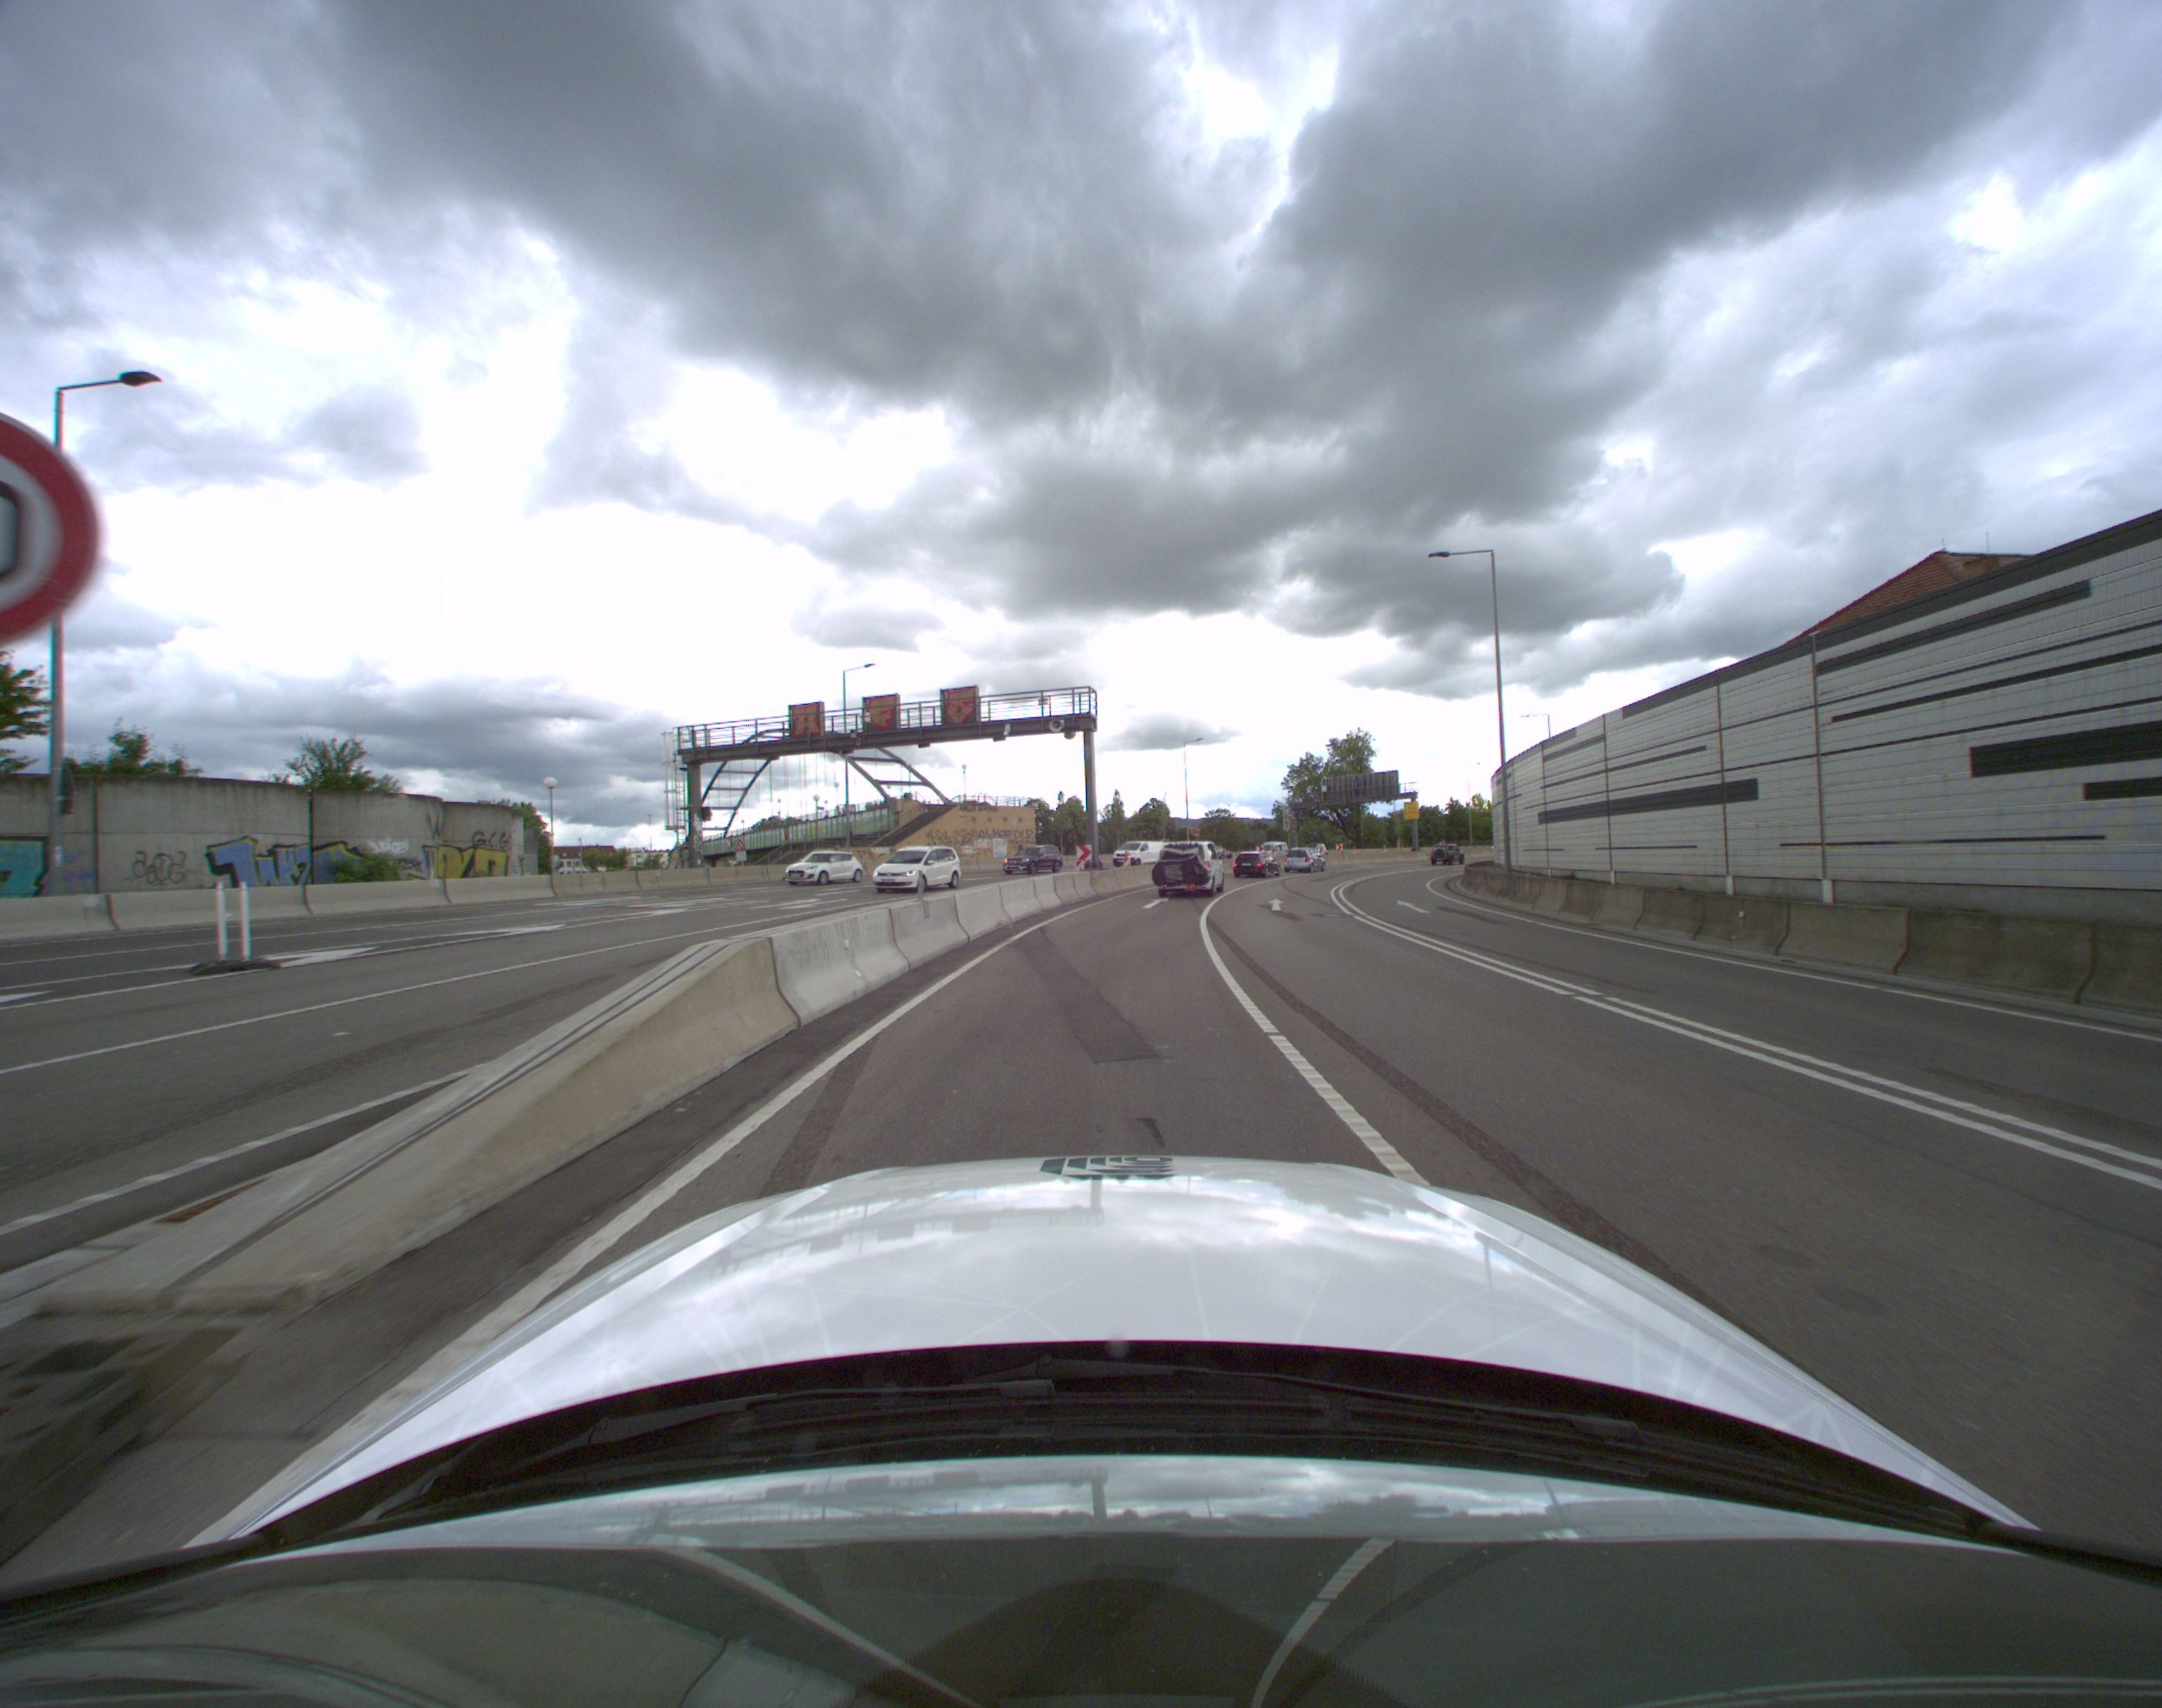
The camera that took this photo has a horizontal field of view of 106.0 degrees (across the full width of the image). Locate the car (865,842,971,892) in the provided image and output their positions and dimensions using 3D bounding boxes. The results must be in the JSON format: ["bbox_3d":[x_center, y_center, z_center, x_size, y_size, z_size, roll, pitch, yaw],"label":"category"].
[{"bbox_3d":[-6.219,0.454,31.852,1.936,1.750,5.294,-2,0,14],"label":"car"}]

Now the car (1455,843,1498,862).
[{"bbox_3d":[36.768,-0.192,75.653,4.019,1.673,1.978,-1,1,-38],"label":"car"}]

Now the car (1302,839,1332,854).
[{"bbox_3d":[24.493,-0.779,84.562,2.955,1.475,1.612,-1,0,-39],"label":"car"}]

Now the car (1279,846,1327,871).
[{"bbox_3d":[14.409,0.262,52.650,1.902,1.488,4.091,-1,1,31],"label":"car"}]

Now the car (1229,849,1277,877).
[{"bbox_3d":[9.469,0.466,44.692,1.799,1.434,4.087,-3,-1,22],"label":"car"}]

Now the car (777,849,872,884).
[{"bbox_3d":[-11.408,0.527,36.550,1.744,1.434,4.167,-2,0,22],"label":"car"}]

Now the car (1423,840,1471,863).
[{"bbox_3d":[29.964,-0.208,66.648,4.021,1.860,1.976,-1,-1,-40],"label":"car"}]

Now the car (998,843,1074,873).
[{"bbox_3d":[-2.593,0.196,48.194,1.974,1.695,4.959,-1,0,32],"label":"car"}]

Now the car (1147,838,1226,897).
[{"bbox_3d":[3.812,0.411,28.495,1.978,1.859,5.664,0,0,15],"label":"car"}]

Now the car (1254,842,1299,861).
[{"bbox_3d":[17.682,-0.259,73.554,1.975,1.686,4.285,-1,0,44],"label":"car"}]

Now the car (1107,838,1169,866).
[{"bbox_3d":[4.206,-0.151,59.348,2.215,1.951,5.137,-1,0,35],"label":"car"}]
